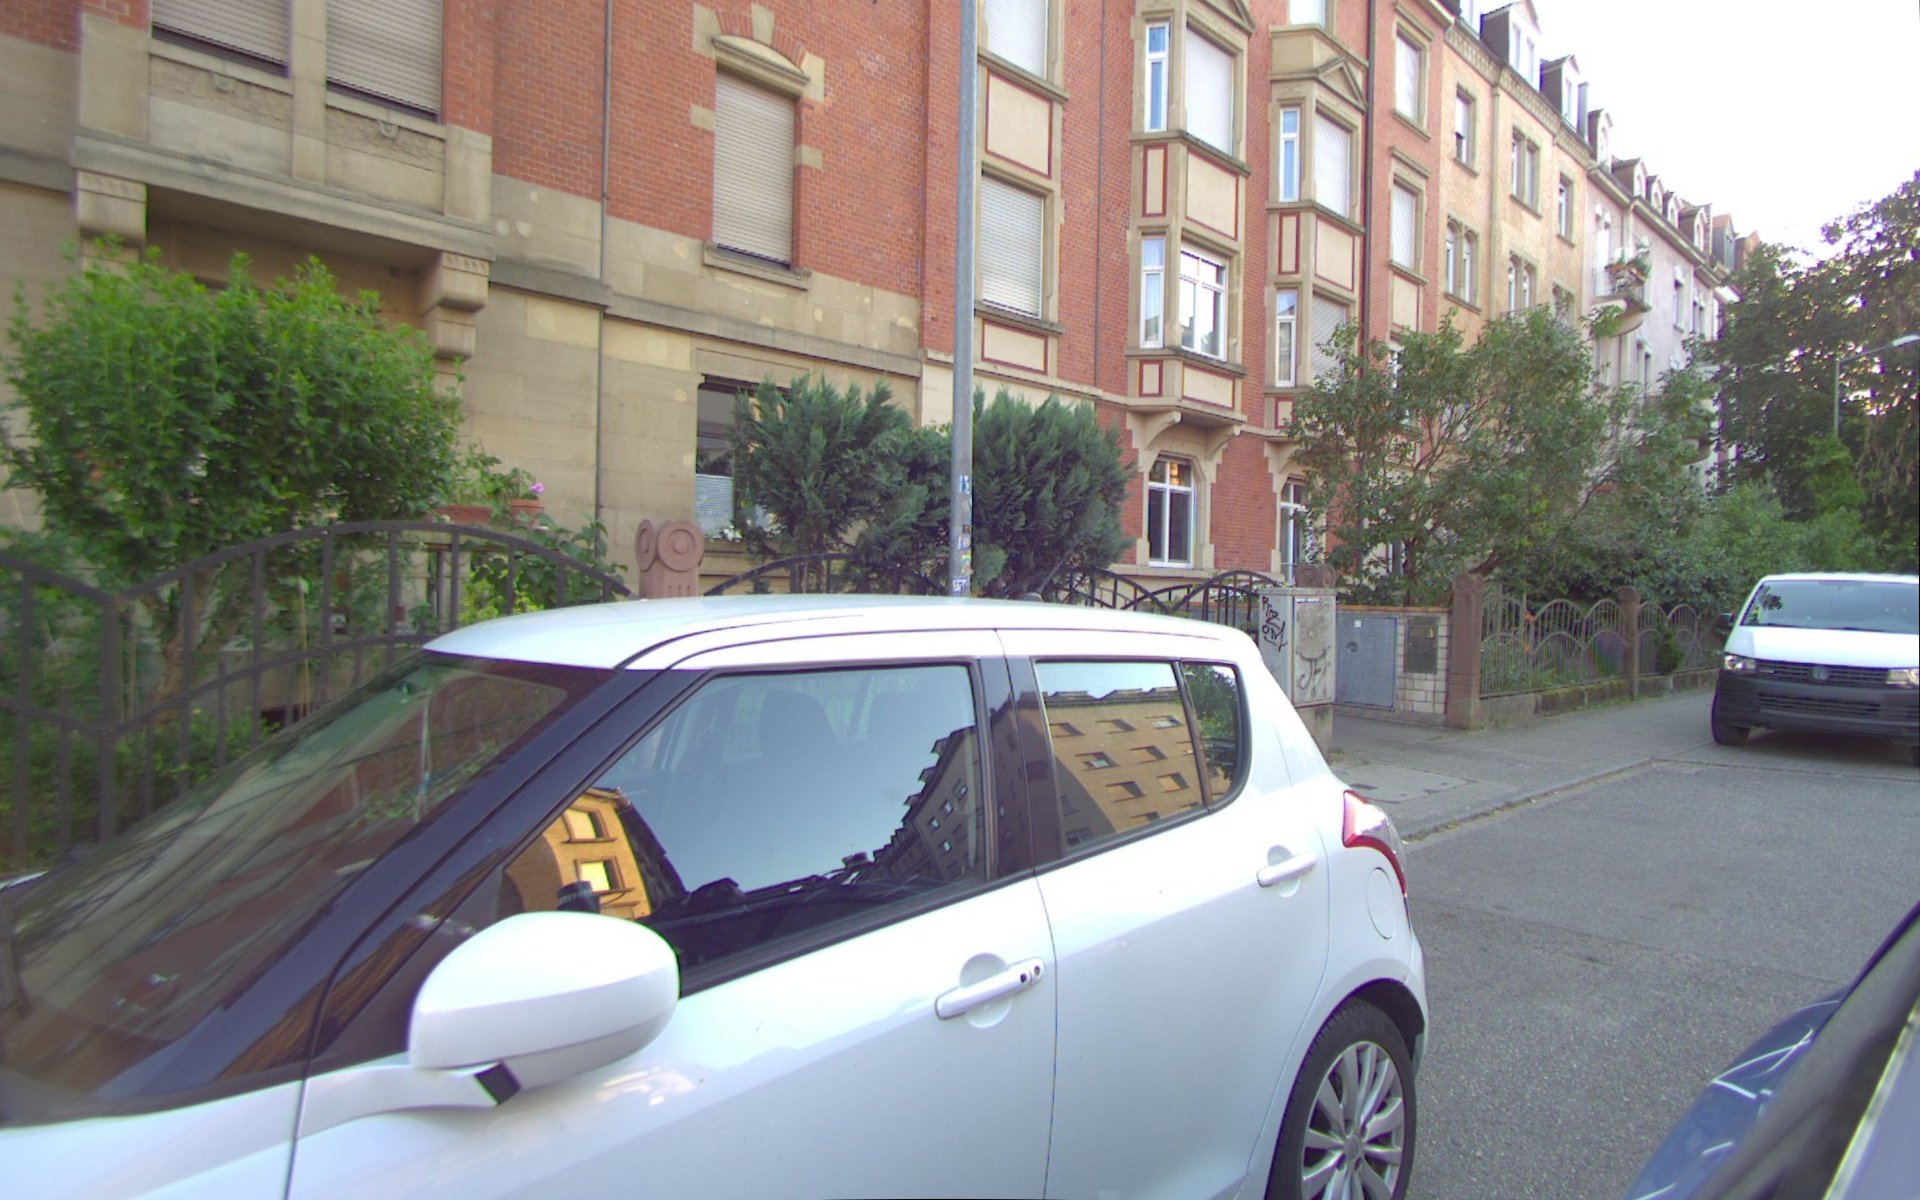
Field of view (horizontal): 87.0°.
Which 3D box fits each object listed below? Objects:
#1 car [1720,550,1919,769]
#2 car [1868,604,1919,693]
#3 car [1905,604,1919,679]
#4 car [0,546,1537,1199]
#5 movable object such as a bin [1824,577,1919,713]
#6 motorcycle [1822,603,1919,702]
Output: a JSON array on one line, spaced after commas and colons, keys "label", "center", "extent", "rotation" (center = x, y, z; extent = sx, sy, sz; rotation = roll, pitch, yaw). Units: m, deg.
[{"label": "car", "center": [10.761, 0.552, 11.912], "extent": [5.450, 2.064, 1.865], "rotation": [0, 2, -43]}, {"label": "car", "center": [18.784, 0.878, 19.176], "extent": [4.247, 1.571, 1.724], "rotation": [0, 0, -39]}, {"label": "car", "center": [22.690, 0.896, 22.549], "extent": [4.755, 1.602, 1.760], "rotation": [0, -1, -39]}, {"label": "car", "center": [-0.515, 0.701, 2.069], "extent": [3.791, 1.496, 1.678], "rotation": [0, 0, -39]}, {"label": "movable object such as a bin", "center": [14.242, 0.639, 15.312], "extent": [2.285, 1.901, 1.414], "rotation": [0, 2, -42]}, {"label": "motorcycle", "center": [15.698, 0.865, 16.552], "extent": [2.066, 1.500, 1.128], "rotation": [3, 2, 16]}]
